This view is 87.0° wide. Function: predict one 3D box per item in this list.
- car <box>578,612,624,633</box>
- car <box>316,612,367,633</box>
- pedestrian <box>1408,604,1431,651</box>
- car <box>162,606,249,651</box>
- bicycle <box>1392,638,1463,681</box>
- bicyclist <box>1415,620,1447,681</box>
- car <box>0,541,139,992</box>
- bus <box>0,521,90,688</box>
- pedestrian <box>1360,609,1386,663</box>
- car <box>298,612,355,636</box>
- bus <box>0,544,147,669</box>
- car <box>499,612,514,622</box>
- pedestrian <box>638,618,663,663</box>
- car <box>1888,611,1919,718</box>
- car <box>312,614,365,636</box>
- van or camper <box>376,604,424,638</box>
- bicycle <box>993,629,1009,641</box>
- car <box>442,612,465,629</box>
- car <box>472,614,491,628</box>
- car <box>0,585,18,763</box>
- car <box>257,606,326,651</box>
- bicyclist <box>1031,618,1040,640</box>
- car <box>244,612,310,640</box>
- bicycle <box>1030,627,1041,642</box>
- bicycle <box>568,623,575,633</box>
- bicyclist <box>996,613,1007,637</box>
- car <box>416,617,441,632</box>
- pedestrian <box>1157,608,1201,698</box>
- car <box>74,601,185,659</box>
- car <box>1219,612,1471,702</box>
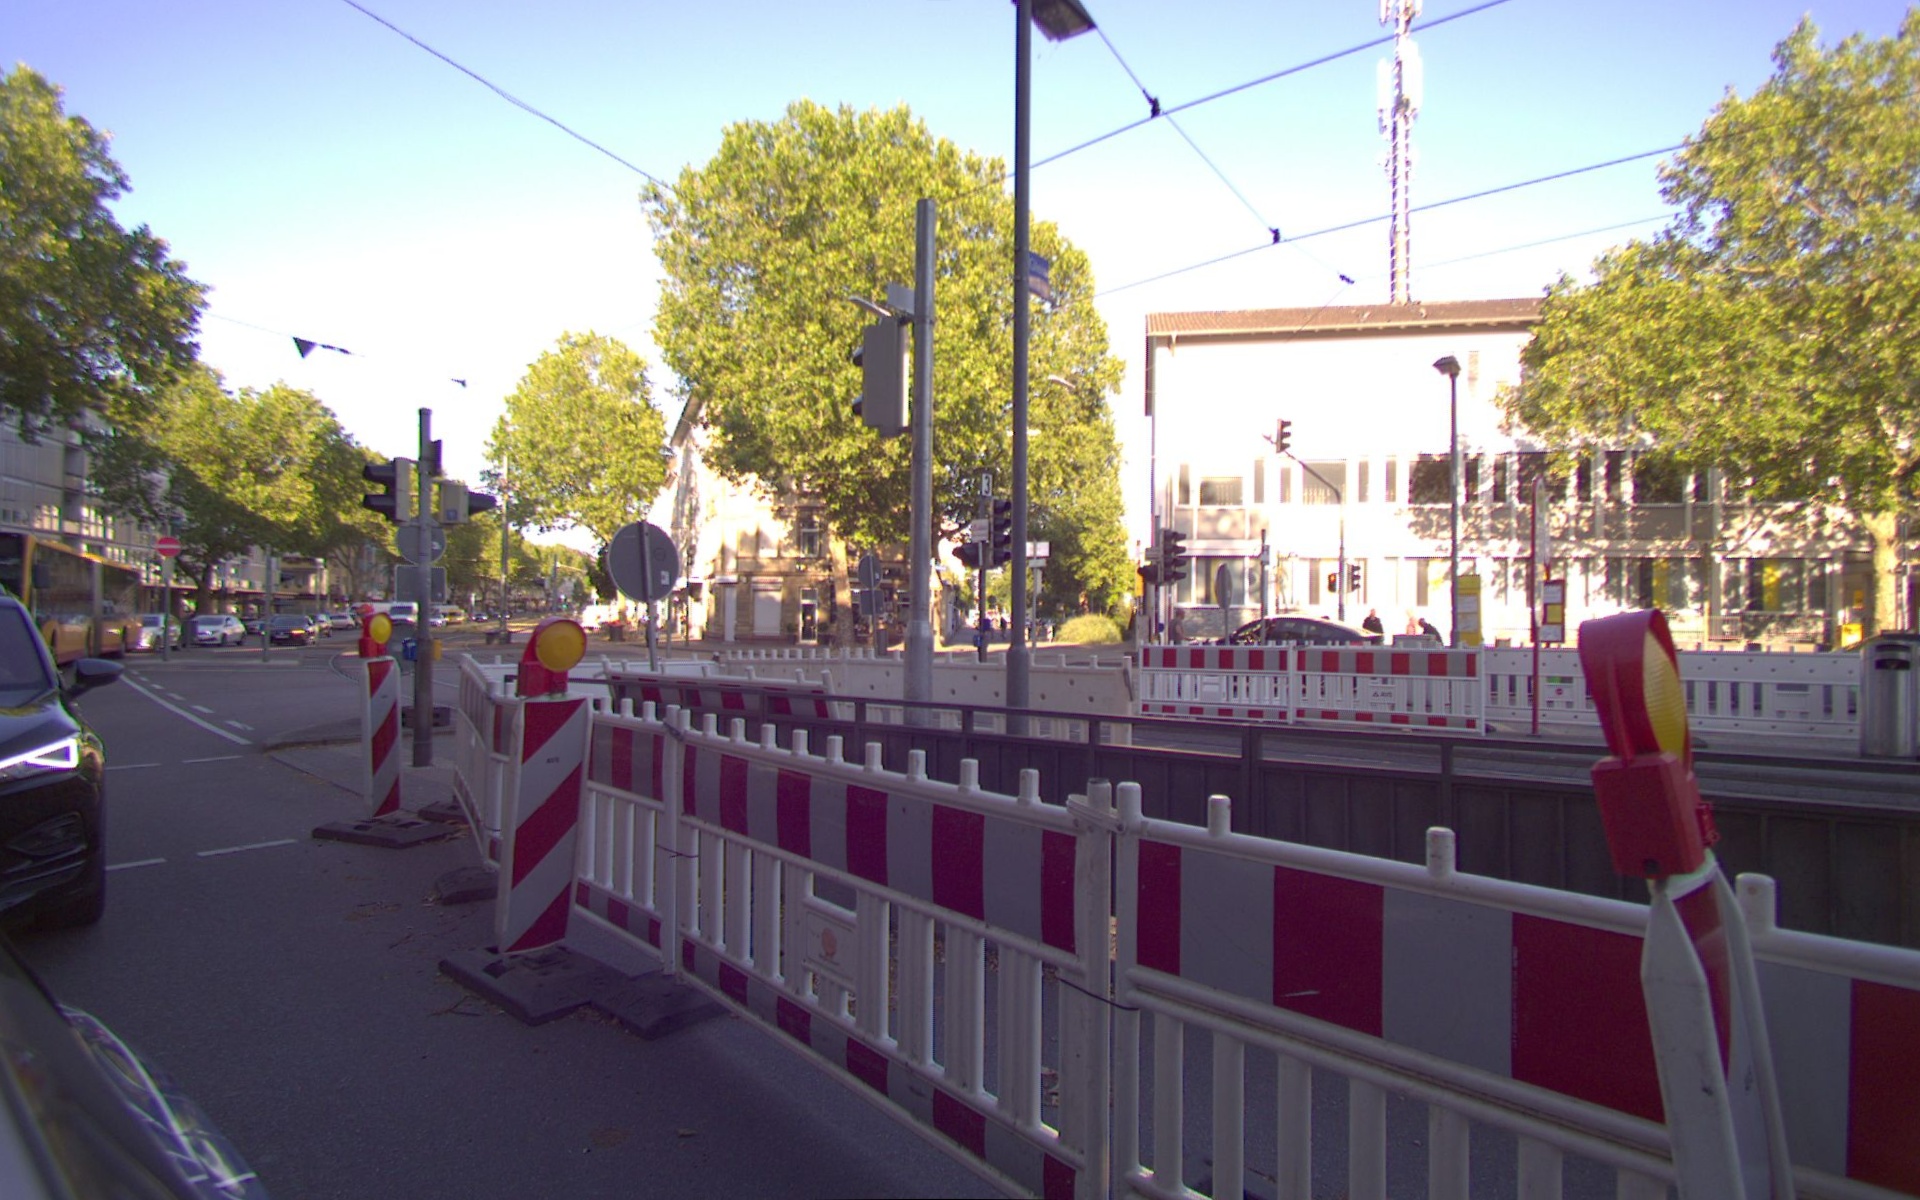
[{"bbox_3d":[-34.425,2.152,97.115,1.990,2.029,3.963,0,-2,27],"label":"car"},{"bbox_3d":[-60.259,2.206,98.560,3.938,2.029,2.002,1,-2,-42],"label":"car"},{"bbox_3d":[14.356,0.861,31.634,0.581,1.466,0.583,0,-2,20],"label":"pedestrian"},{"bbox_3d":[-34.952,1.310,47.000,1.966,2.029,4.012,1,-1,-17],"label":"car"},{"bbox_3d":[12.498,1.578,27.071,1.621,1.073,0.543,-1,-2,41],"label":"bicycle"},{"bbox_3d":[12.575,1.336,27.029,0.643,1.626,0.544,-1,-2,41],"label":"bicyclist"},{"bbox_3d":[-5.490,0.643,4.799,3.998,1.719,1.818,-1,-2,41],"label":"car"},{"bbox_3d":[-21.143,0.139,21.978,2.678,3.130,8.641,1,-2,-36],"label":"bus"},{"bbox_3d":[12.092,1.055,29.599,0.649,1.564,0.563,-1,-2,28],"label":"pedestrian"},{"bbox_3d":[-56.003,2.104,89.466,3.938,2.029,2.002,1,-2,-42],"label":"car"},{"bbox_3d":[-26.007,0.240,29.263,2.676,3.130,8.622,1,-2,-31],"label":"bus"},{"bbox_3d":[-77.605,2.915,173.229,1.809,1.816,4.143,1,-2,-19],"label":"car"},{"bbox_3d":[-10.679,1.388,34.900,0.594,1.545,0.746,1,-2,-37],"label":"pedestrian"},{"bbox_3d":[17.102,1.011,15.560,3.994,1.674,1.974,-1,-2,38],"label":"car"},{"bbox_3d":[-58.069,2.345,94.597,3.938,2.029,2.002,1,-2,-42],"label":"car"},{"bbox_3d":[-47.362,1.795,85.706,2.385,2.739,6.151,1,-1,-18],"label":"van or camper"},{"bbox_3d":[2.994,2.533,73.368,0.676,0.788,1.979,0,-1,17],"label":"bicycle"},{"bbox_3d":[-57.208,2.339,114.409,1.809,1.816,4.143,1,-2,-19],"label":"car"},{"bbox_3d":[-65.474,2.880,138.515,1.809,1.816,4.143,1,-2,-19],"label":"car"},{"bbox_3d":[-11.037,0.693,10.101,4.073,1.656,1.973,-1,-2,41],"label":"car"},{"bbox_3d":[-31.681,1.333,48.094,1.965,2.029,4.013,1,-1,-22],"label":"car"},{"bbox_3d":[5.295,2.047,71.014,0.569,1.538,0.844,0,-1,7],"label":"bicyclist"},{"bbox_3d":[-50.571,1.930,75.002,3.932,2.029,2.006,1,-2,-31],"label":"car"},{"bbox_3d":[5.277,2.428,70.897,0.670,1.039,2.185,0,-1,6],"label":"bicycle"},{"bbox_3d":[-48.168,3.438,125.490,0.837,1.202,2.474,1,-1,-22],"label":"bicycle"},{"bbox_3d":[3.020,1.798,73.447,0.668,1.741,0.761,0,-2,17],"label":"bicyclist"},{"bbox_3d":[-52.207,2.427,99.458,1.675,1.481,3.776,1,-1,-19],"label":"car"},{"bbox_3d":[4.378,1.040,20.243,0.545,1.760,0.693,1,-2,-24],"label":"pedestrian"},{"bbox_3d":[-30.846,1.111,37.743,1.965,2.029,4.111,1,-1,-21],"label":"car"},{"bbox_3d":[7.943,1.101,21.085,4.552,1.674,1.974,-1,-2,38],"label":"car"}]
